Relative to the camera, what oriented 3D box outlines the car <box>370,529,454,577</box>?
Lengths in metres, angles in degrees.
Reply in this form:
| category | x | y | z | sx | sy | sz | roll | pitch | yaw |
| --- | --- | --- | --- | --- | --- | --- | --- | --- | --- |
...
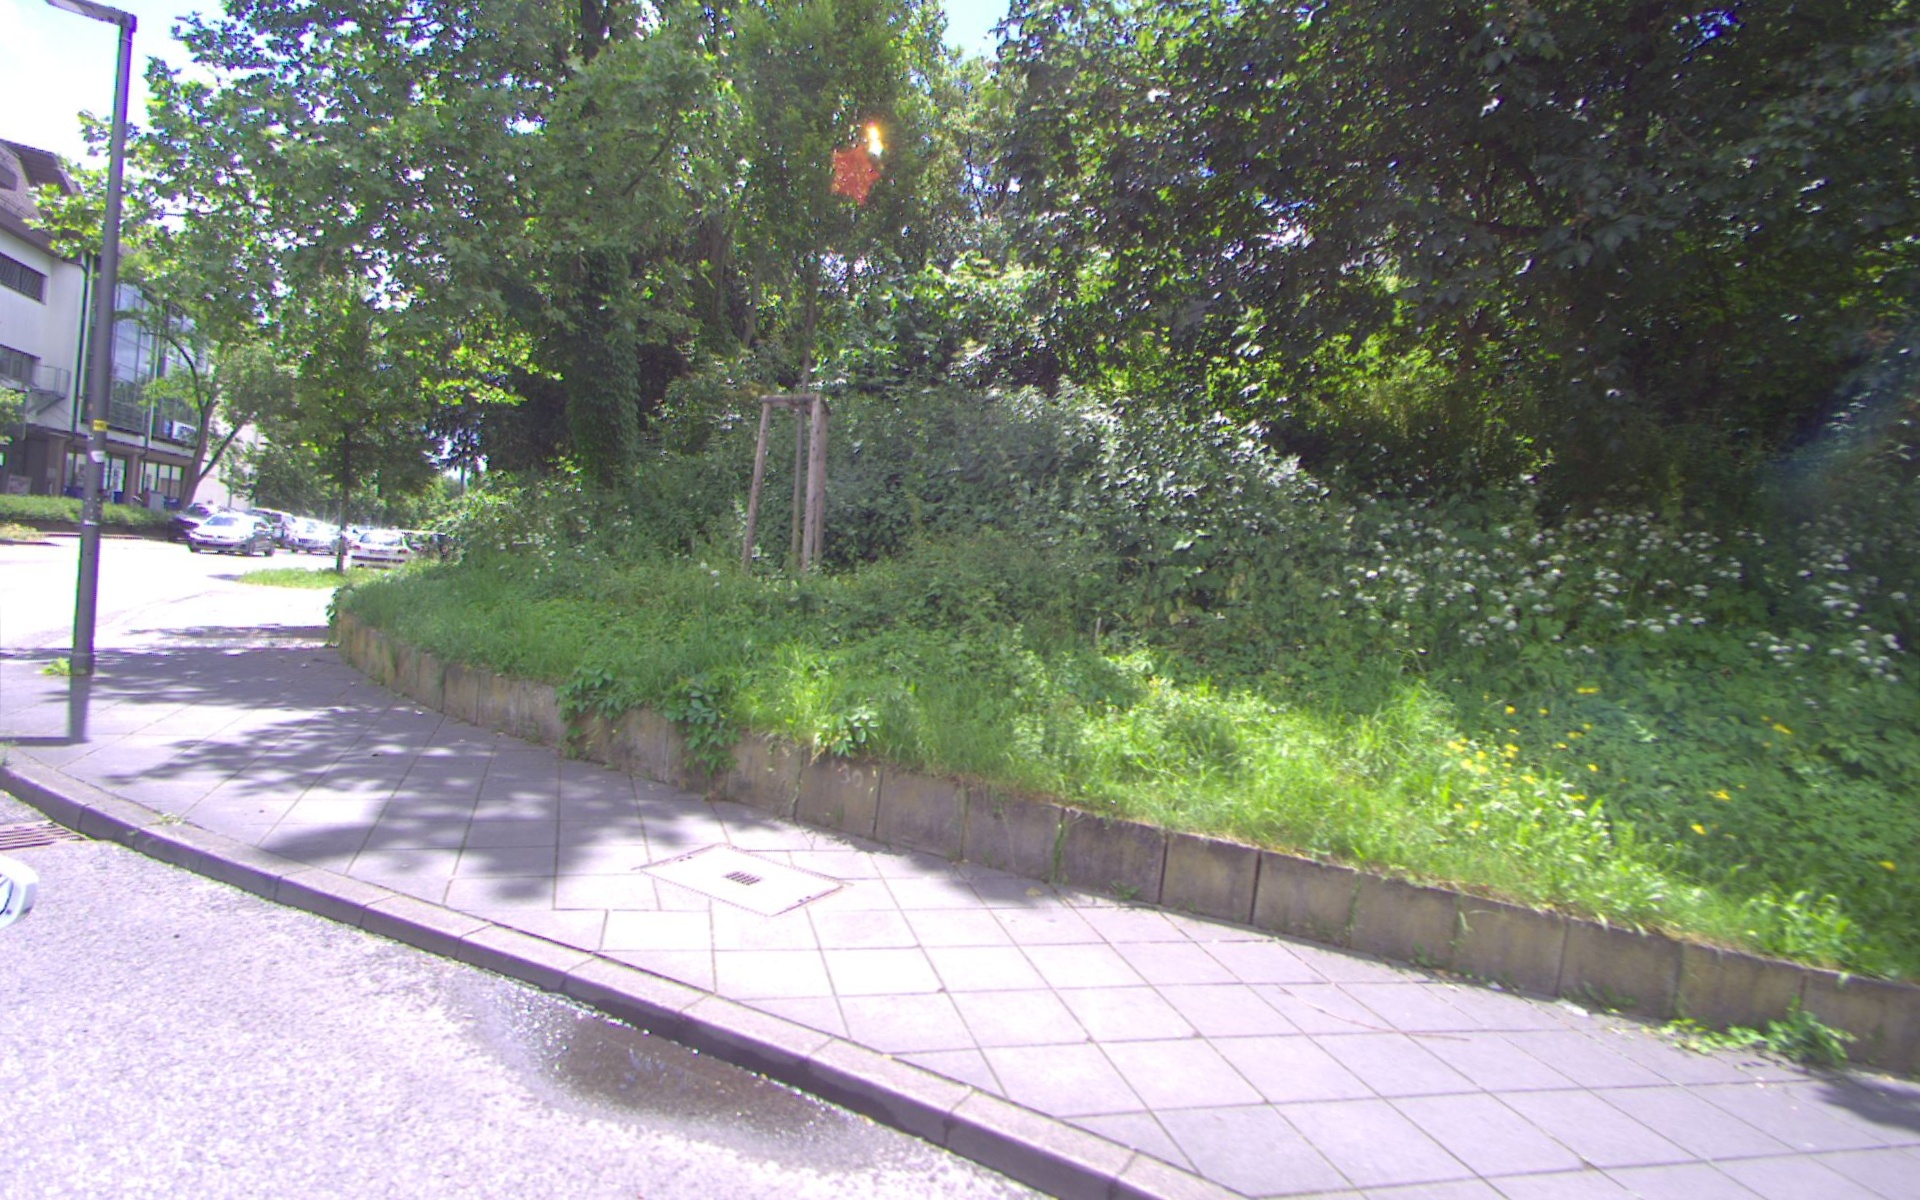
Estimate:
| category | x | y | z | sx | sy | sz | roll | pitch | yaw |
| --- | --- | --- | --- | --- | --- | --- | --- | --- | --- |
| car | -21.011 | -1.756 | 38.737 | 1.906 | 1.504 | 3.986 | 7 | 0 | -17 |

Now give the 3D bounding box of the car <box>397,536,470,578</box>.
| category | x | y | z | sx | sy | sz | roll | pitch | yaw |
| --- | --- | --- | --- | --- | --- | --- | --- | --- | --- |
| car | -22.804 | -1.847 | 43.734 | 1.906 | 1.504 | 3.985 | 7 | 0 | -17 |

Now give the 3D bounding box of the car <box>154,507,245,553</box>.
| category | x | y | z | sx | sy | sz | roll | pitch | yaw |
| --- | --- | --- | --- | --- | --- | --- | --- | --- | --- |
| car | -31.331 | -2.833 | 41.606 | 1.976 | 1.526 | 4.556 | 7 | -1 | -25 |

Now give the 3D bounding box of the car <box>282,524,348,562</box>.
| category | x | y | z | sx | sy | sz | roll | pitch | yaw |
| --- | --- | --- | --- | --- | --- | --- | --- | --- | --- |
| car | -31.366 | -2.761 | 49.027 | 1.975 | 1.526 | 4.557 | 6 | 0 | -25 |

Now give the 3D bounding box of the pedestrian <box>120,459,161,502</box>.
| category | x | y | z | sx | sy | sz | roll | pitch | yaw |
| --- | --- | --- | --- | --- | --- | --- | --- | --- | --- |
| pedestrian | -44.240 | -6.422 | 54.333 | 1.332 | 2.038 | 1.082 | 6 | 0 | -25 |

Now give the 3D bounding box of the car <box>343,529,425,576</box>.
| category | x | y | z | sx | sy | sz | roll | pitch | yaw |
| --- | --- | --- | --- | --- | --- | --- | --- | --- | --- |
| car | -19.126 | -1.566 | 33.545 | 1.732 | 1.347 | 3.980 | 4 | 1 | -21 |

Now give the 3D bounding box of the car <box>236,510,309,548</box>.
| category | x | y | z | sx | sy | sz | roll | pitch | yaw |
| --- | --- | --- | --- | --- | --- | --- | --- | --- | --- |
| car | -35.483 | -3.615 | 52.046 | 1.973 | 1.526 | 4.562 | 7 | -1 | -21 |

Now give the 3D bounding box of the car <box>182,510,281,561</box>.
| category | x | y | z | sx | sy | sz | roll | pitch | yaw |
| --- | --- | --- | --- | --- | --- | --- | --- | --- | --- |
| car | -26.129 | -2.283 | 36.248 | 1.974 | 1.527 | 4.556 | 5 | 0 | -25 |
